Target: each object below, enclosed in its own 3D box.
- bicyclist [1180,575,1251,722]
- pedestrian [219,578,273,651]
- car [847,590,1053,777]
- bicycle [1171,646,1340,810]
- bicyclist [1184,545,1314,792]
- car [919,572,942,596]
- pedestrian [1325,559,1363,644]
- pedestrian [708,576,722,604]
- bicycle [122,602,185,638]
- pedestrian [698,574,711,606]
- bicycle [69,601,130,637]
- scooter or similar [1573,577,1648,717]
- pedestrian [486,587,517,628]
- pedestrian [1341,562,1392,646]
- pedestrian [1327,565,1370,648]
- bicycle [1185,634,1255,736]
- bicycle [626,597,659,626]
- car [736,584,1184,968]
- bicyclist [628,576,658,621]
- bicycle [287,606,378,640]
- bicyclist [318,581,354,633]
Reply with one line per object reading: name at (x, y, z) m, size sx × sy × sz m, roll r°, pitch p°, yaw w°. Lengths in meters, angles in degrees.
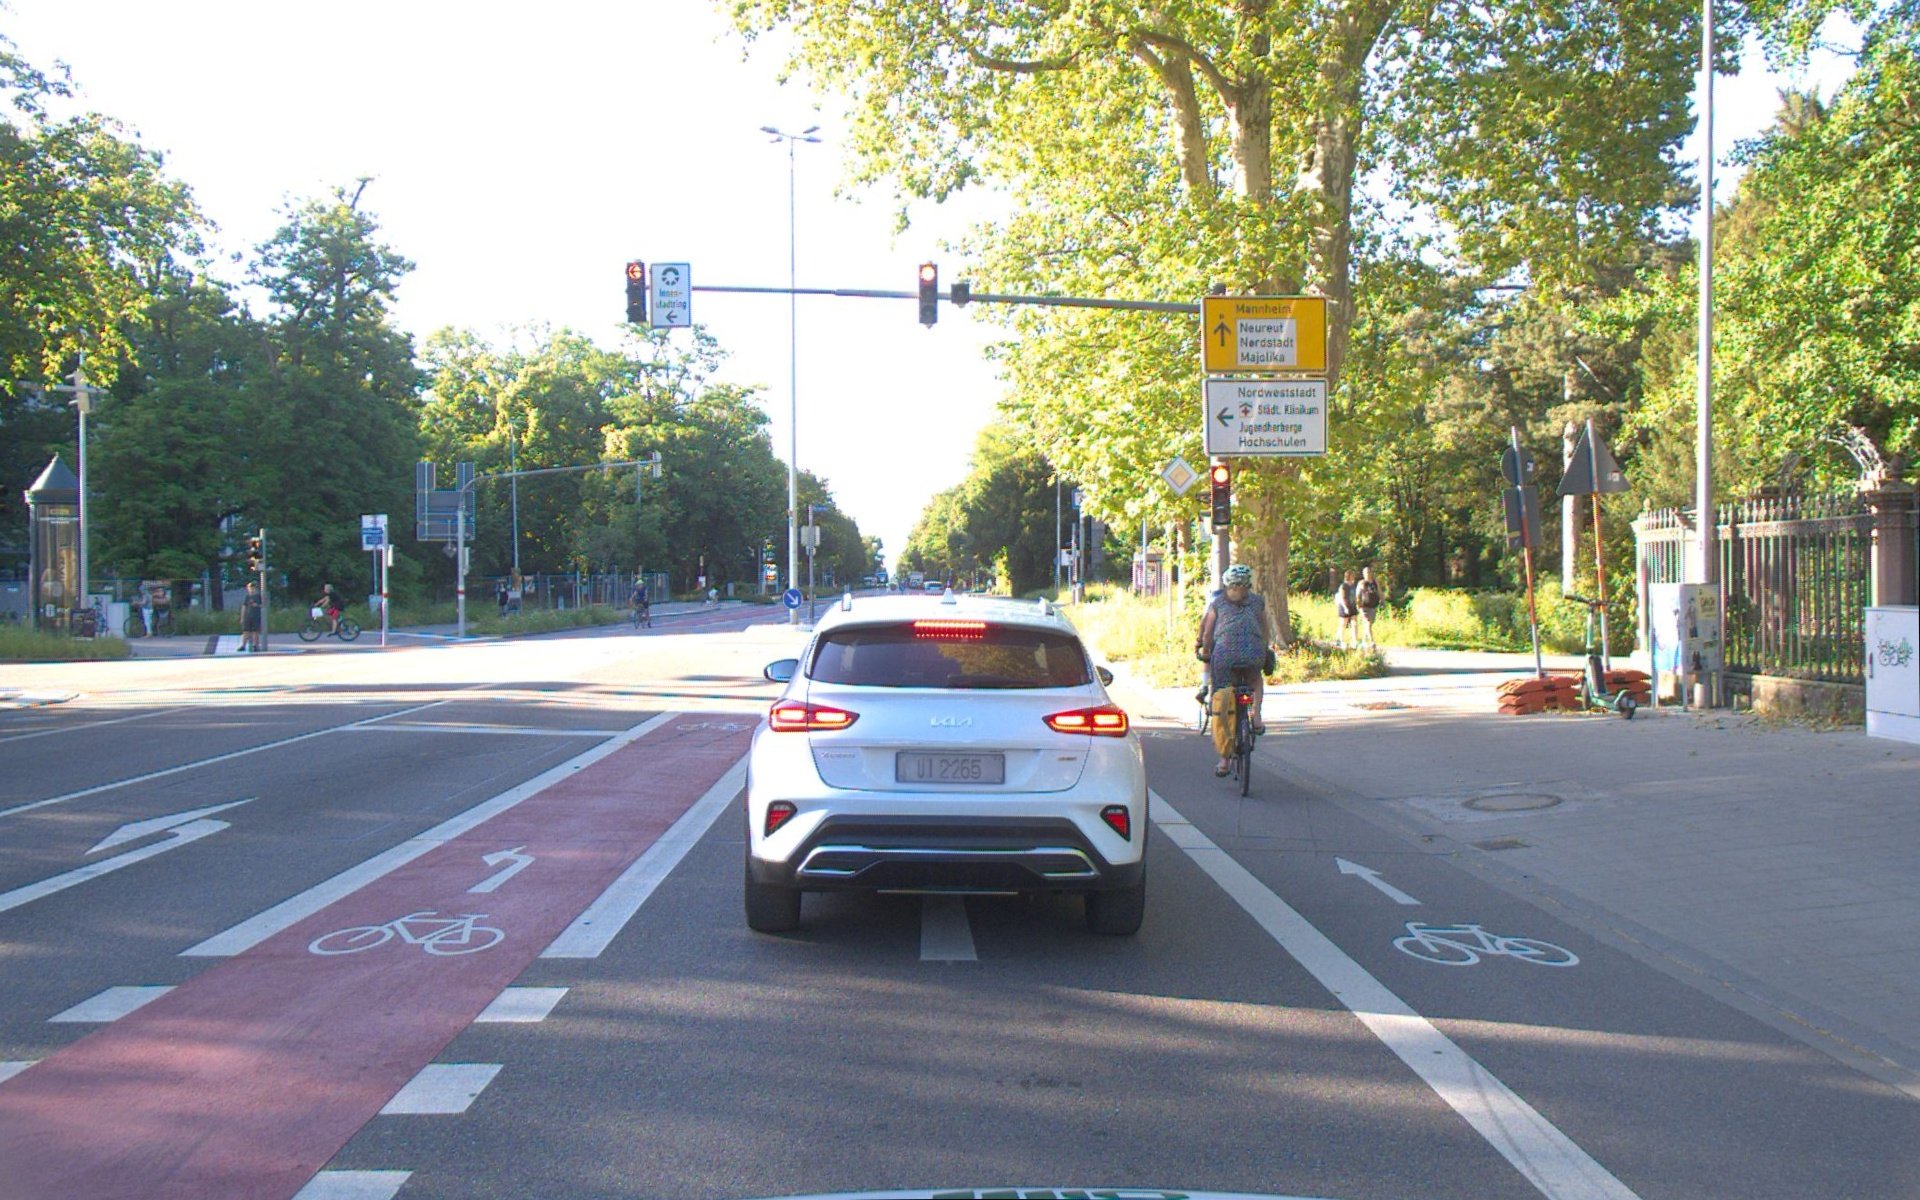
bicyclist at (2.717, 0.501, 17.618) m, size 0.543 × 1.504 × 0.716 m, roll -3°, pitch 0°, yaw -2°
pedestrian at (-20.517, 0.416, 47.539) m, size 0.974 × 2.049 × 1.191 m, roll 0°, pitch 0°, yaw 4°
car at (-0.153, 0.686, 15.604) m, size 1.694 × 1.509 × 3.515 m, roll -1°, pitch 1°, yaw -2°
bicycle at (2.228, 0.933, 12.849) m, size 0.742 × 1.031 × 2.568 m, roll 1°, pitch 1°, yaw -2°
bicyclist at (2.237, 0.506, 12.930) m, size 0.738 × 1.827 × 1.164 m, roll 1°, pitch 0°, yaw -2°
car at (-2.625, -1.384, 146.644) m, size 1.953 × 2.049 × 4.000 m, roll -1°, pitch 1°, yaw -1°
pedestrian at (8.334, 0.025, 35.902) m, size 0.604 × 1.802 × 0.646 m, roll -1°, pitch 0°, yaw -8°
pedestrian at (-15.652, -0.644, 105.738) m, size 0.769 × 1.817 × 0.751 m, roll 0°, pitch 0°, yaw 0°
bicycle at (-26.460, 0.650, 54.270) m, size 1.826 × 1.168 × 0.290 m, roll 0°, pitch 0°, yaw -8°
pedestrian at (-16.302, -0.653, 105.549) m, size 0.627 × 2.049 × 0.754 m, roll 0°, pitch 0°, yaw 9°
bicycle at (-28.368, 0.617, 54.522) m, size 1.822 × 1.168 × 0.443 m, roll 0°, pitch 0°, yaw 5°
scooter or similar at (6.488, 0.444, 16.537) m, size 0.223 × 1.350 × 1.171 m, roll -1°, pitch 1°, yaw -2°
pedestrian at (-18.952, 0.295, 68.329) m, size 1.067 × 1.631 × 1.000 m, roll -1°, pitch 0°, yaw -7°
pedestrian at (8.878, 0.081, 36.168) m, size 0.802 × 1.802 × 0.831 m, roll -1°, pitch 0°, yaw -8°
pedestrian at (8.296, 0.136, 35.325) m, size 0.676 × 1.729 × 0.643 m, roll -1°, pitch 0°, yaw -7°
bicycle at (2.737, 0.876, 17.544) m, size 0.393 × 0.973 × 1.550 m, roll -3°, pitch 0°, yaw -2°
bicycle at (-11.724, 0.424, 61.101) m, size 0.650 × 1.006 × 2.505 m, roll -1°, pitch 1°, yaw 1°
car at (-0.066, 0.679, 8.544) m, size 1.785 × 1.506 × 3.935 m, roll 0°, pitch 1°, yaw -2°
bicyclist at (-11.730, -0.075, 61.227) m, size 0.857 × 1.636 × 1.188 m, roll -1°, pitch 1°, yaw 1°
bicycle at (-19.983, 0.719, 52.698) m, size 2.663 × 1.006 × 0.578 m, roll -2°, pitch 1°, yaw -18°
bicyclist at (-19.887, 0.216, 52.733) m, size 0.959 × 1.634 × 0.873 m, roll -1°, pitch 0°, yaw -18°
